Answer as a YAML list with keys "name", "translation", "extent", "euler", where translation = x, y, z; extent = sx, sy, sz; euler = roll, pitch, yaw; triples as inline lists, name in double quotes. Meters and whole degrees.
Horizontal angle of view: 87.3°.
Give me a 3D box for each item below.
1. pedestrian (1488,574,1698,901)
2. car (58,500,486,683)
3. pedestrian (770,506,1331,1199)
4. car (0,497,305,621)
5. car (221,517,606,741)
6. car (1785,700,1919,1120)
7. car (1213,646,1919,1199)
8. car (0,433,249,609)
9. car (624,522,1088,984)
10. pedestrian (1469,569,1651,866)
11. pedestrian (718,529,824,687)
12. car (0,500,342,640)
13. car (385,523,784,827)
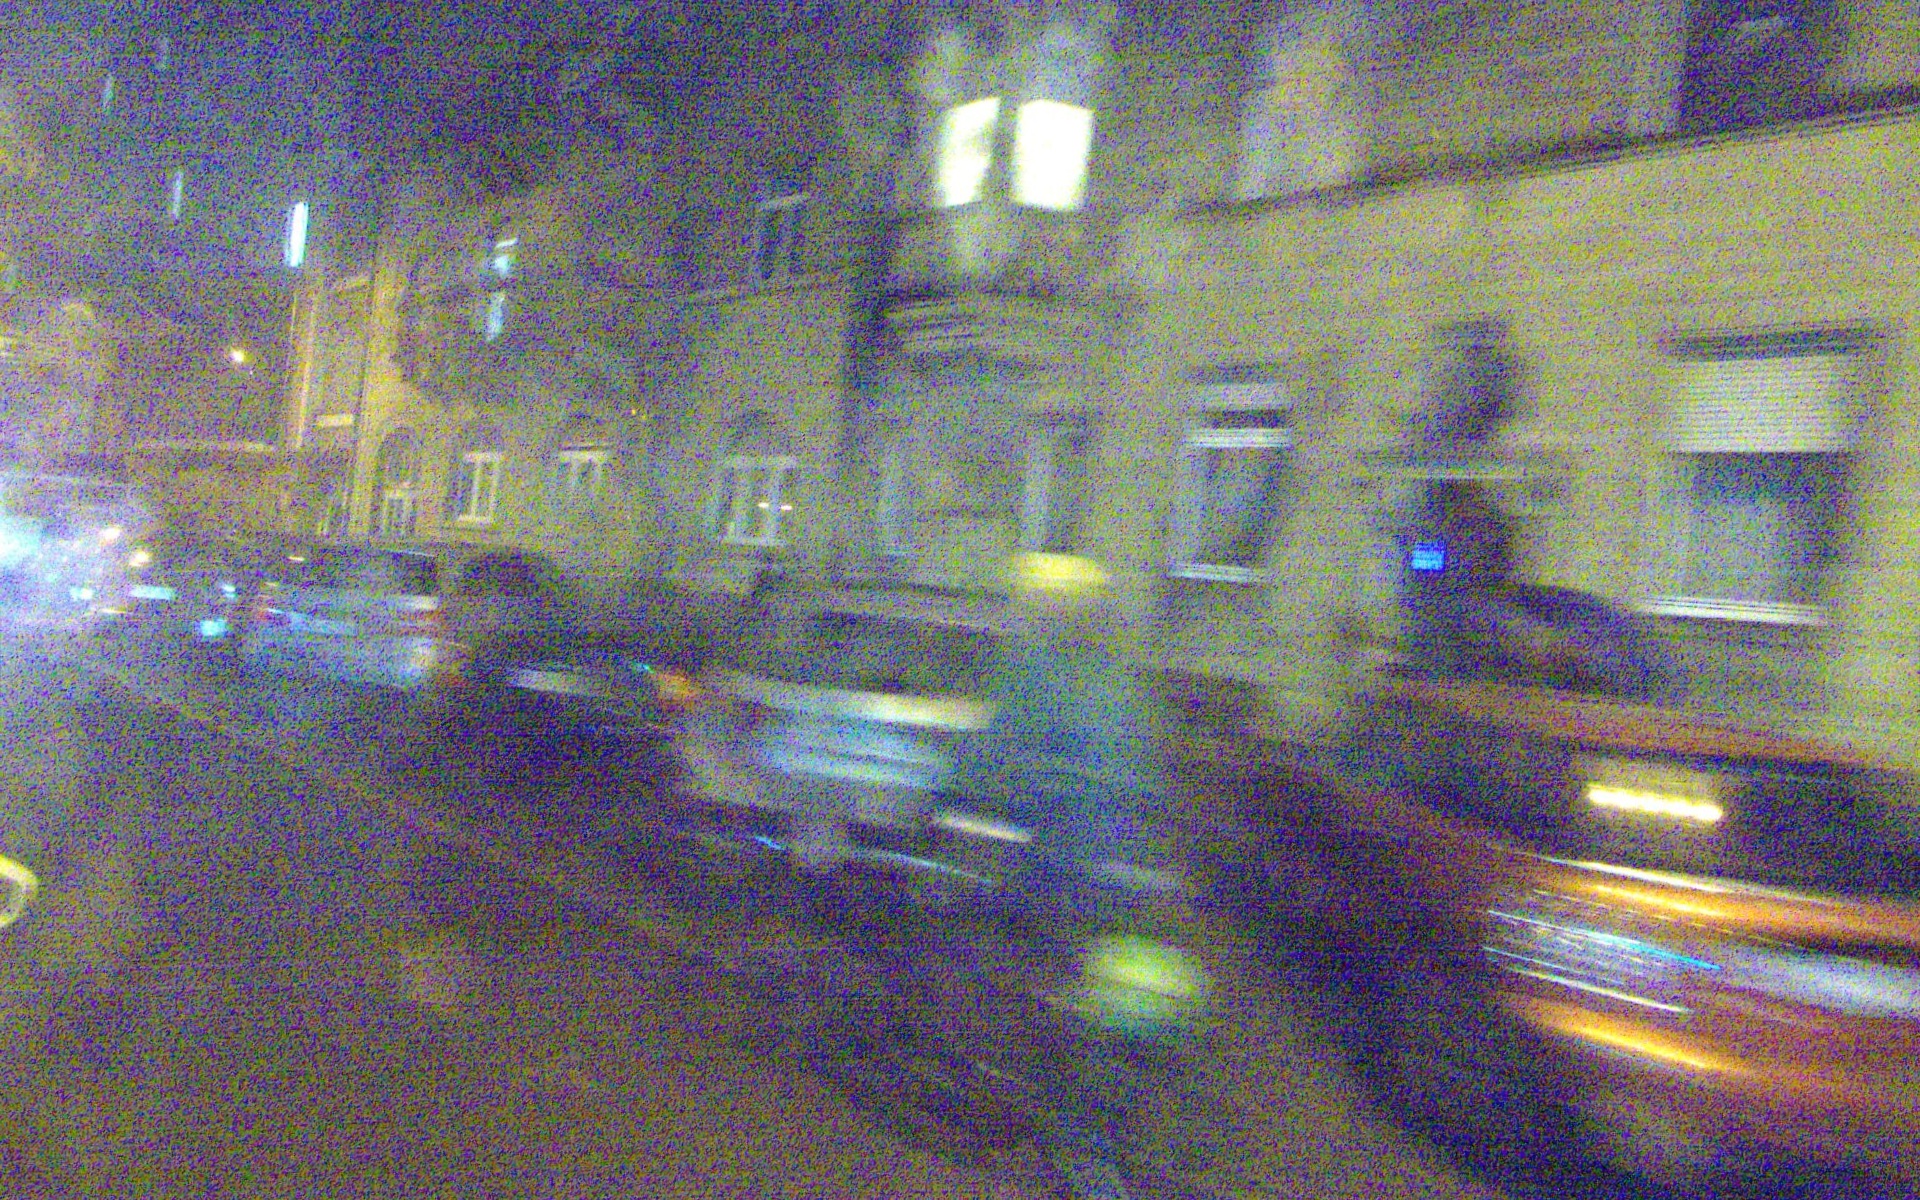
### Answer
- name: "pedestrian"
  translation: [4.069, 0.833, 6.480]
  extent: [0.857, 1.865, 0.745]
  euler: [9, 3, 36]
- name: "car"
  translation: [-7.601, -0.024, 11.705]
  extent: [1.717, 1.580, 4.055]
  euler: [6, -1, 8]
- name: "pedestrian"
  translation: [0.254, 0.707, 2.879]
  extent: [1.159, 1.792, 0.822]
  euler: [6, 0, 36]
- name: "car"
  translation: [-12.216, -0.533, 15.484]
  extent: [1.599, 1.486, 3.457]
  euler: [7, -1, 8]
- name: "car"
  translation: [-4.902, 0.262, 9.629]
  extent: [1.565, 1.580, 3.512]
  euler: [6, -1, 1]
- name: "car"
  translation: [4.533, 1.289, 2.779]
  extent: [1.606, 1.580, 3.484]
  euler: [6, -1, 3]
- name: "car"
  translation: [2.395, 1.120, 4.355]
  extent: [1.608, 1.580, 3.397]
  euler: [6, -1, 1]
- name: "car"
  translation: [-14.366, -1.203, 16.027]
  extent: [2.189, 2.369, 4.944]
  euler: [6, -1, 3]
- name: "car"
  translation: [-0.245, 0.668, 6.093]
  extent: [1.801, 1.710, 3.805]
  euler: [6, -1, 7]
- name: "pedestrian"
  translation: [4.358, 0.810, 7.301]
  extent: [0.829, 1.929, 0.745]
  euler: [9, 3, 36]
- name: "pedestrian"
  translation: [-2.391, 0.102, 12.723]
  extent: [0.829, 1.865, 0.745]
  euler: [9, 3, 36]
- name: "car"
  translation: [-10.531, -0.302, 13.665]
  extent: [1.582, 1.486, 3.733]
  euler: [7, -1, 6]
- name: "car"
  translation: [-2.466, 0.465, 7.510]
  extent: [1.565, 1.580, 3.397]
  euler: [6, -1, 0]
